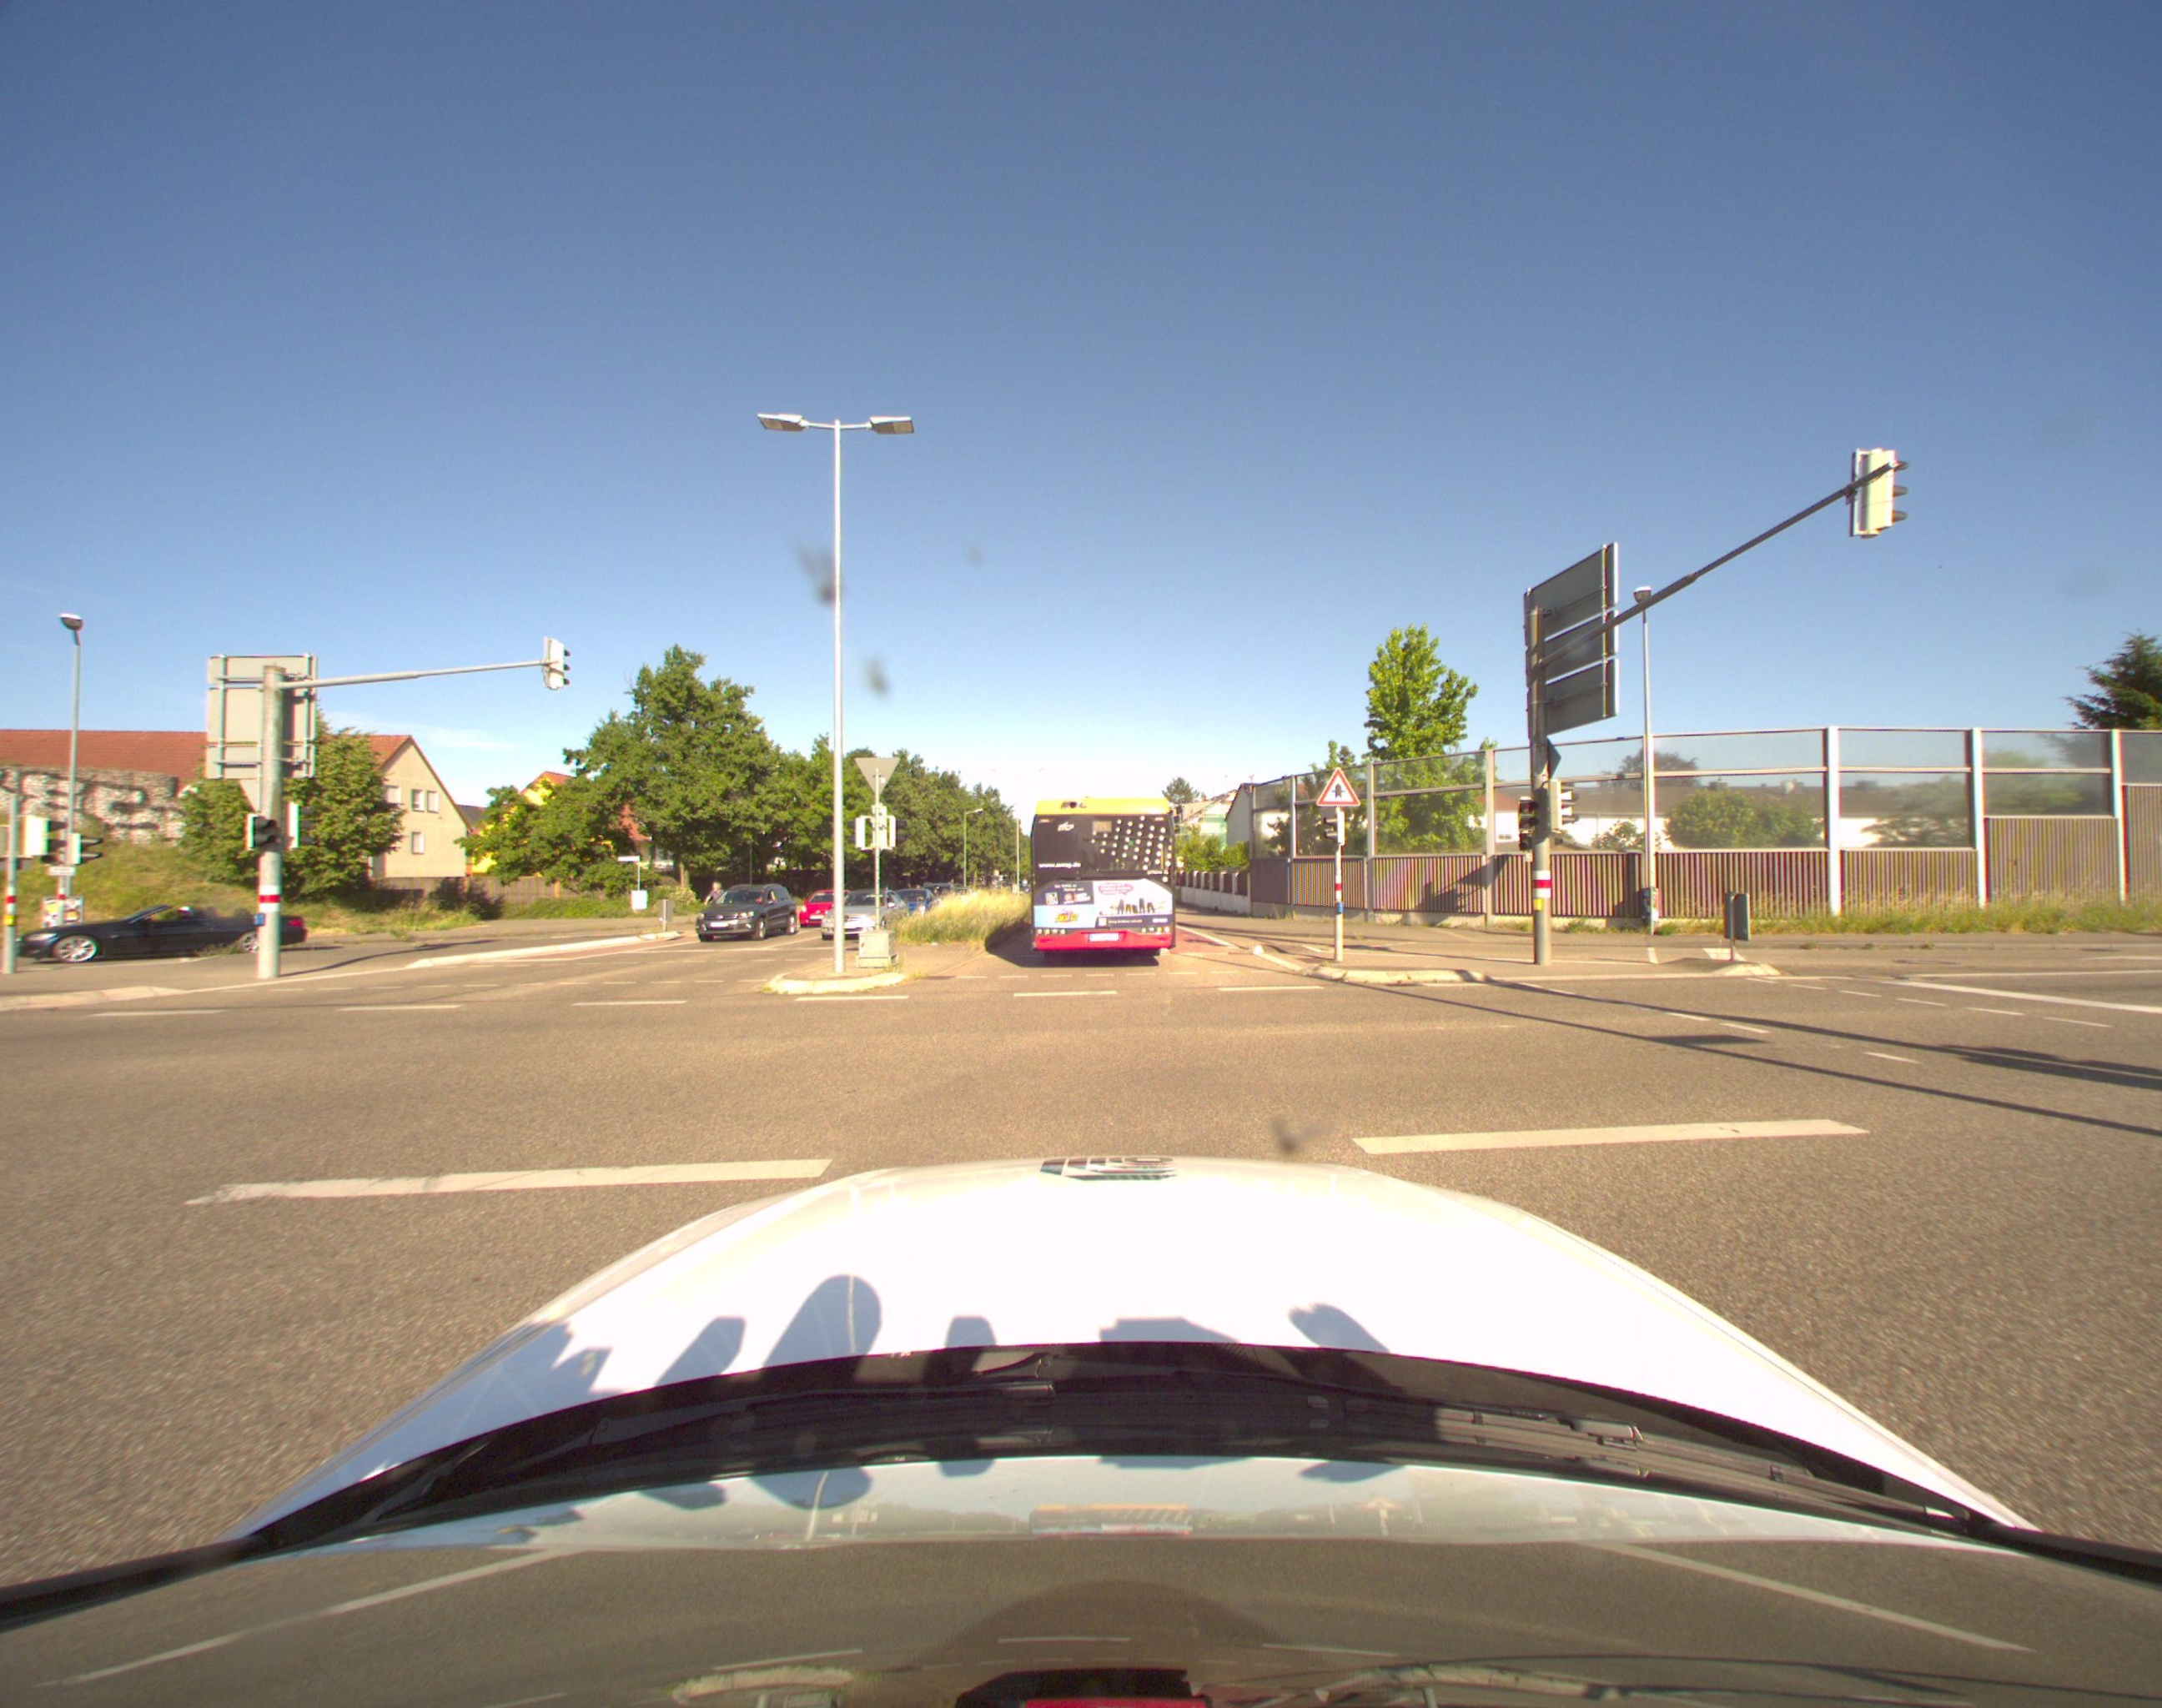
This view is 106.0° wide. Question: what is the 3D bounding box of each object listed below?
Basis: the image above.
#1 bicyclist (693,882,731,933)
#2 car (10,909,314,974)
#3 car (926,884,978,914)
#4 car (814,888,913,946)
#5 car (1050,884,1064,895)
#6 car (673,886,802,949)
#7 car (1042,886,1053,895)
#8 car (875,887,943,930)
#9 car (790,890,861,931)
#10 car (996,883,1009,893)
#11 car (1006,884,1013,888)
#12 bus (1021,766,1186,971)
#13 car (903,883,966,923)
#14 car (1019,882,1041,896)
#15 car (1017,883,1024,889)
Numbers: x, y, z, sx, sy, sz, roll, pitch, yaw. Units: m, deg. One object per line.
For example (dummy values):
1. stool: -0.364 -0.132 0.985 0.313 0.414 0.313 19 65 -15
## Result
1. bicyclist: -12.590 1.811 27.817 0.742 1.702 1.241 -1 -2 -1
2. car: -22.302 2.045 19.992 2.021 1.310 4.712 -3 -4 36
3. car: -6.667 2.298 42.496 1.987 1.451 4.397 -1 -2 0
4. car: -6.574 1.864 25.144 1.787 1.506 4.529 -1 -2 0
5. car: -3.879 5.715 132.302 1.933 1.704 3.990 0 -2 -6
6. car: -10.313 1.860 24.886 1.987 1.644 4.529 -1 -2 0
7. car: -6.352 6.899 154.085 1.931 1.742 3.990 0 -2 -6
8. car: -6.525 2.041 31.251 1.741 1.483 3.887 -1 -2 0
9. car: -10.097 2.201 32.421 1.640 1.483 3.713 -1 -2 0
10. car: -12.176 5.320 126.415 1.934 1.479 3.988 0 -2 -8
11. car: -21.664 9.727 247.910 1.932 1.454 3.989 0 -2 -7
12. bus: 0.491 0.519 20.155 2.748 3.459 12.396 -1 -3 1
13. car: -6.520 2.164 36.751 1.987 1.616 4.528 -1 -2 0
14. car: -5.705 3.930 91.341 1.700 1.431 4.009 -2 -2 8
15. car: -16.567 8.822 222.542 1.931 1.542 3.990 0 -2 -6
